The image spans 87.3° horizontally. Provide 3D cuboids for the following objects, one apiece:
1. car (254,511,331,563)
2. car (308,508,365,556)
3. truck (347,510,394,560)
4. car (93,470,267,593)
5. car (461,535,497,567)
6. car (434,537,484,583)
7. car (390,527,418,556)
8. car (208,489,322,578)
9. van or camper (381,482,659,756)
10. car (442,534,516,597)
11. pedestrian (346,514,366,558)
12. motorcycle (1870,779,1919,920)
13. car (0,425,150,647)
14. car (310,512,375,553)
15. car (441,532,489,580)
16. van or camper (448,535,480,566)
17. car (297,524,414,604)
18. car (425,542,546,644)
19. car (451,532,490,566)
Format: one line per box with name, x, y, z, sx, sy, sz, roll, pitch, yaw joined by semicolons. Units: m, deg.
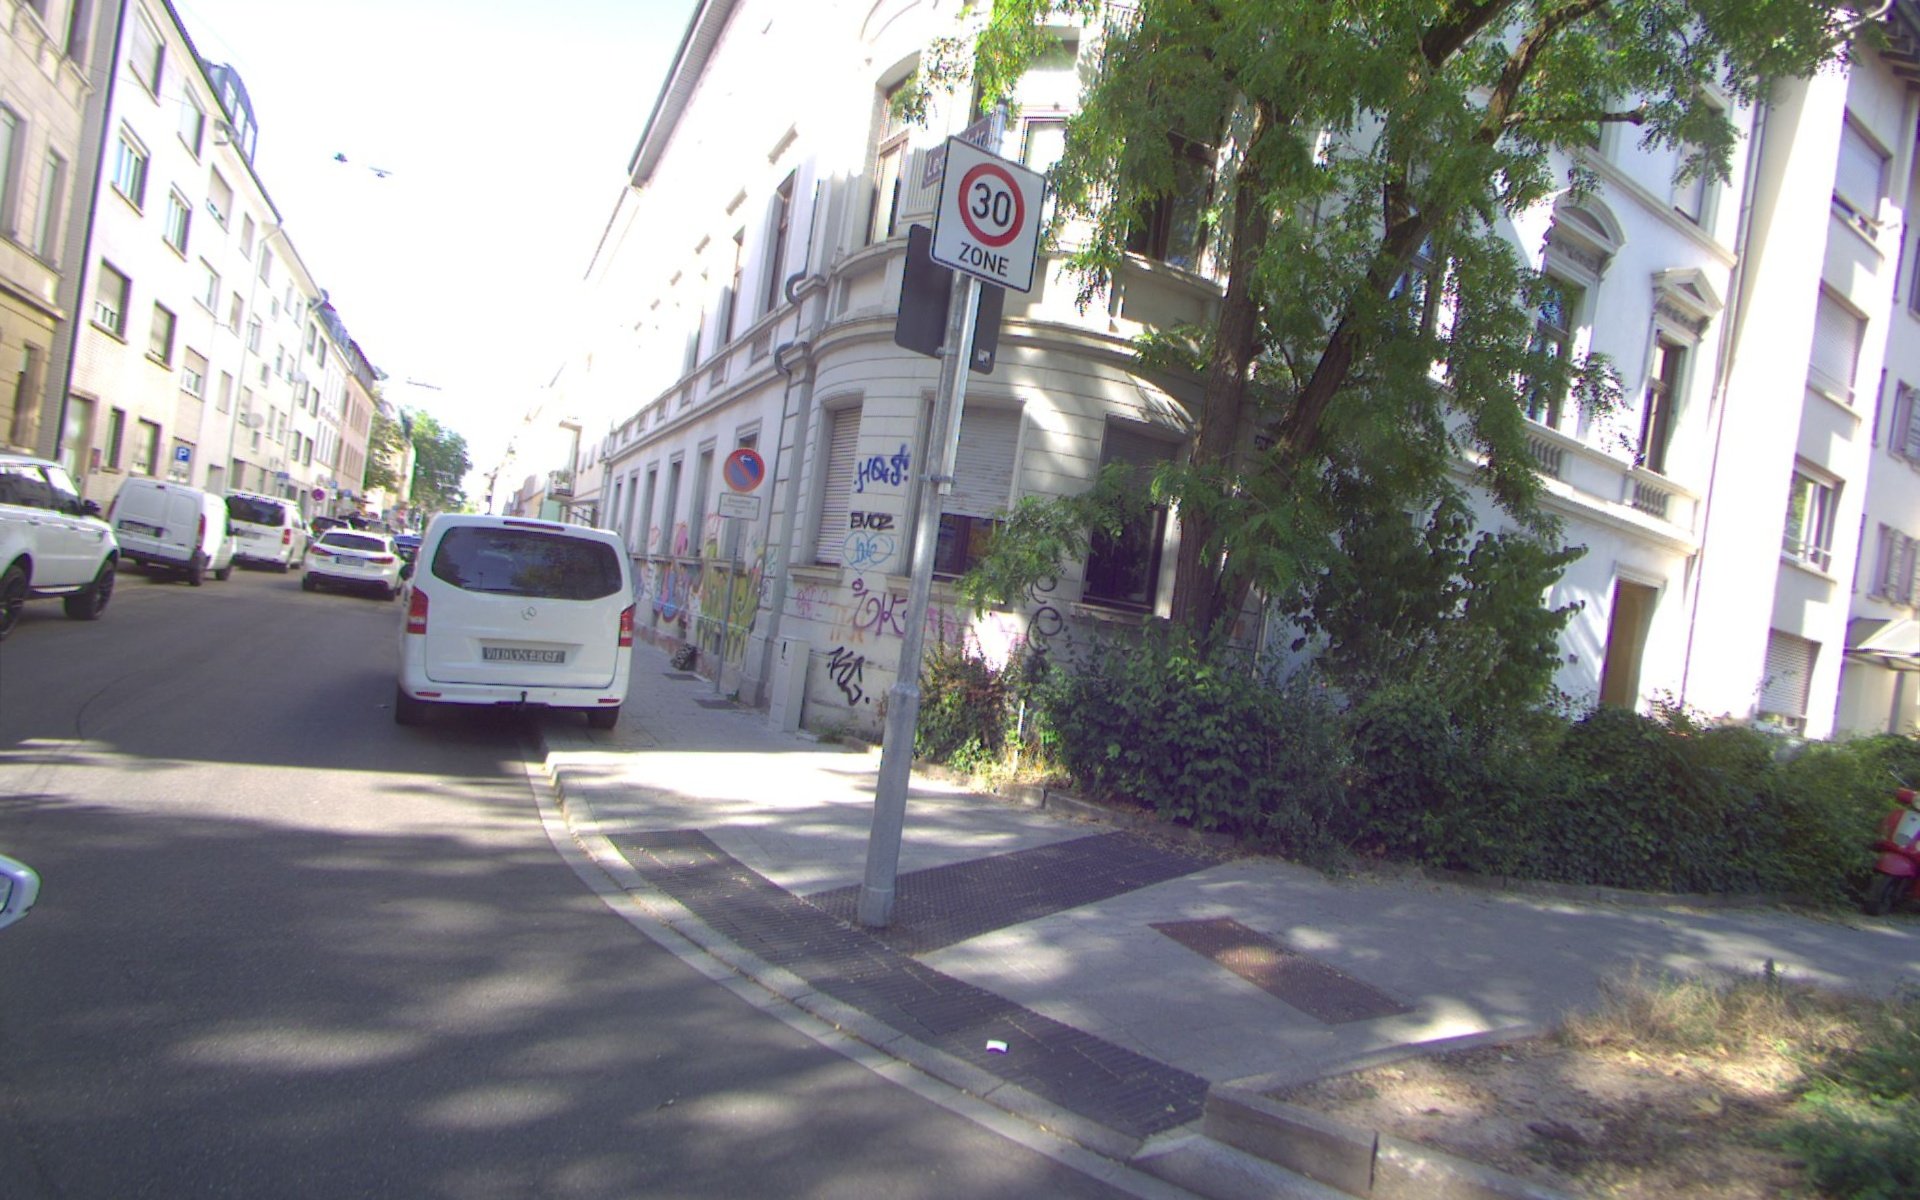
car;-23.832;-2.251;36.043;1.694;1.467;4.271;9;-1;-28
car;-29.216;-3.198;47.269;1.869;1.774;4.506;12;-2;-30
truck;-36.354;-3.933;62.021;2.142;2.620;6.200;8;-2;-31
car;-15.547;-1.354;20.310;1.733;1.896;4.061;12;-2;-27
car;-29.313;-3.004;61.264;1.728;1.587;4.004;8;0;-27
car;-21.977;-1.775;44.070;1.570;1.650;3.654;10;-1;-29
car;-42.433;-4.451;76.823;1.635;1.890;3.970;9;-1;-29
car;-19.459;-1.868;28.387;1.881;1.980;4.745;11;-1;-29
van or camper;-4.744;0.071;10.508;1.879;2.038;4.993;8;0;-28
car;-16.943;-1.268;35.388;1.989;1.805;4.904;9;0;-27
pedestrian;-31.976;-3.370;53.264;0.614;2.255;0.683;7;-1;-27
motorcycle;9.327;2.371;9.363;1.536;1.200;0.595;9;0;-24
car;-10.553;-0.794;10.606;2.005;2.037;4.513;8;-1;-27
car;-33.723;-3.654;55.091;2.422;1.725;5.207;9;-1;-27
car;-24.104;-2.138;48.929;1.768;1.984;4.306;8;-1;-28
van or camper;-37.270;-3.736;75.557;1.761;2.061;4.537;7;0;-29
car;-13.944;-0.871;23.424;1.817;1.504;4.030;7;0;-26
car;-9.733;-0.234;20.568;1.801;1.536;4.694;11;-1;-27
car;-27.706;-2.928;56.888;1.725;1.596;4.347;9;0;-27
